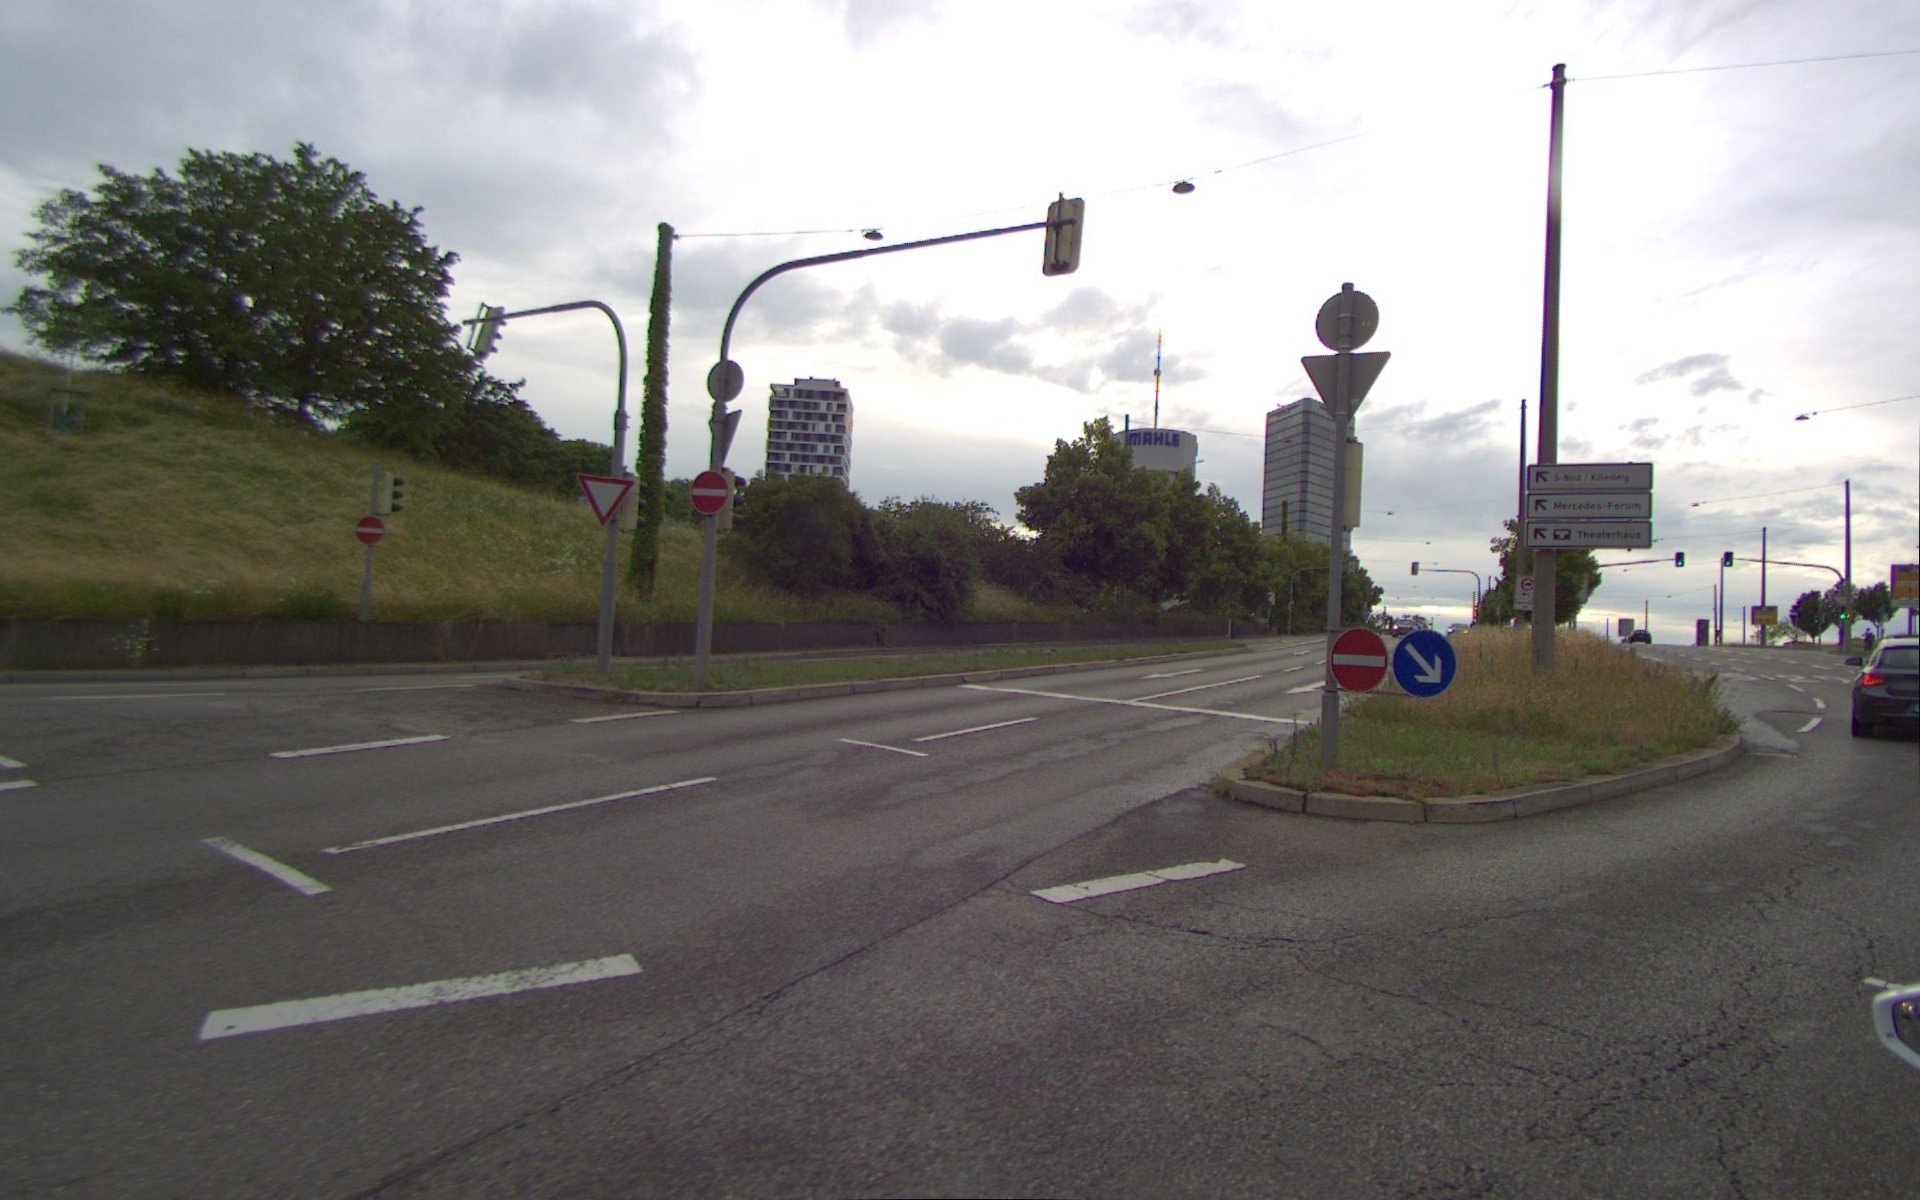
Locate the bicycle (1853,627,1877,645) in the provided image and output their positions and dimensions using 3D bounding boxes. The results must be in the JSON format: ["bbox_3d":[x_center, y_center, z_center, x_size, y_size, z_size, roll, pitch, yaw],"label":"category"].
[{"bbox_3d":[64.143,2.554,71.201,0.622,1.120,1.752,-3,3,22],"label":"bicycle"}]

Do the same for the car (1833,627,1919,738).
[{"bbox_3d":[14.414,1.193,14.962,1.850,1.481,3.951,1,-1,45],"label":"car"}]

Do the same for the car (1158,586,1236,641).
[{"bbox_3d":[9.402,0.569,39.616,1.964,2.040,3.993,-1,-2,30],"label":"car"}]

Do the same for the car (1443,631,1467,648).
[{"bbox_3d":[46.702,3.700,94.756,1.782,1.489,3.607,3,0,29],"label":"car"}]

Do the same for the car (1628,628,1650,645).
[{"bbox_3d":[68.076,3.611,100.759,1.698,1.562,3.694,4,0,33],"label":"car"}]

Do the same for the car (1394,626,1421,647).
[{"bbox_3d":[38.461,3.105,86.232,1.833,1.642,3.995,2,0,27],"label":"car"}]

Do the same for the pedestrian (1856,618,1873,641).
[{"bbox_3d":[64.128,2.090,71.211,0.622,1.592,0.895,-3,2,21],"label":"pedestrian"}]
